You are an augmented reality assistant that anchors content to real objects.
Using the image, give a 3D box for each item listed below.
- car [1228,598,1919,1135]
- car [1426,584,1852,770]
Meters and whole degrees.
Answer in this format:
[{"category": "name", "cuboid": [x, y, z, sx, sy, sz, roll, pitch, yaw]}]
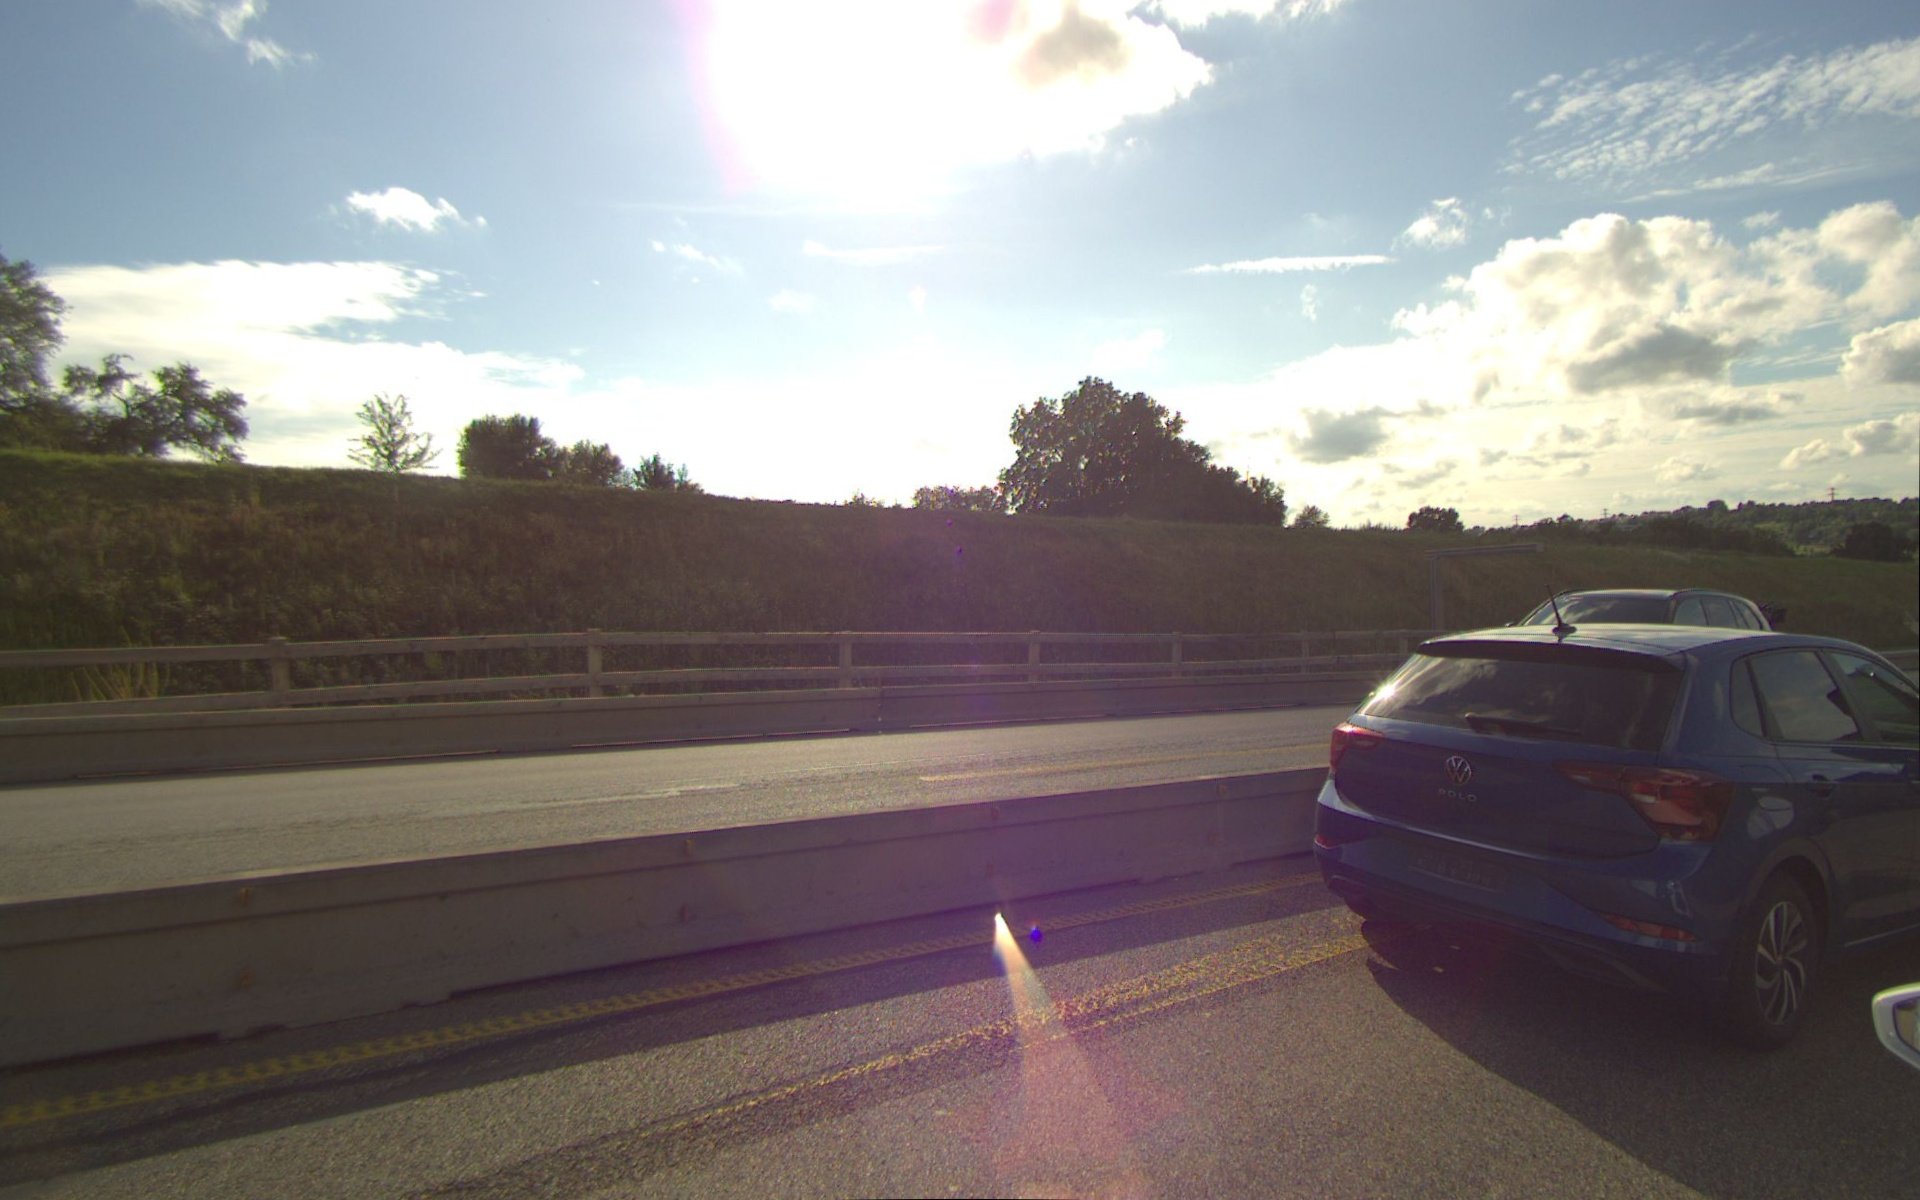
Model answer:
[{"category": "car", "cuboid": [3.304, 0.797, 4.621, 3.953, 1.528, 1.707, 1, 0, -30]}, {"category": "car", "cuboid": [8.077, 0.731, 11.776, 5.513, 1.770, 1.938, 0, 1, -30]}]
